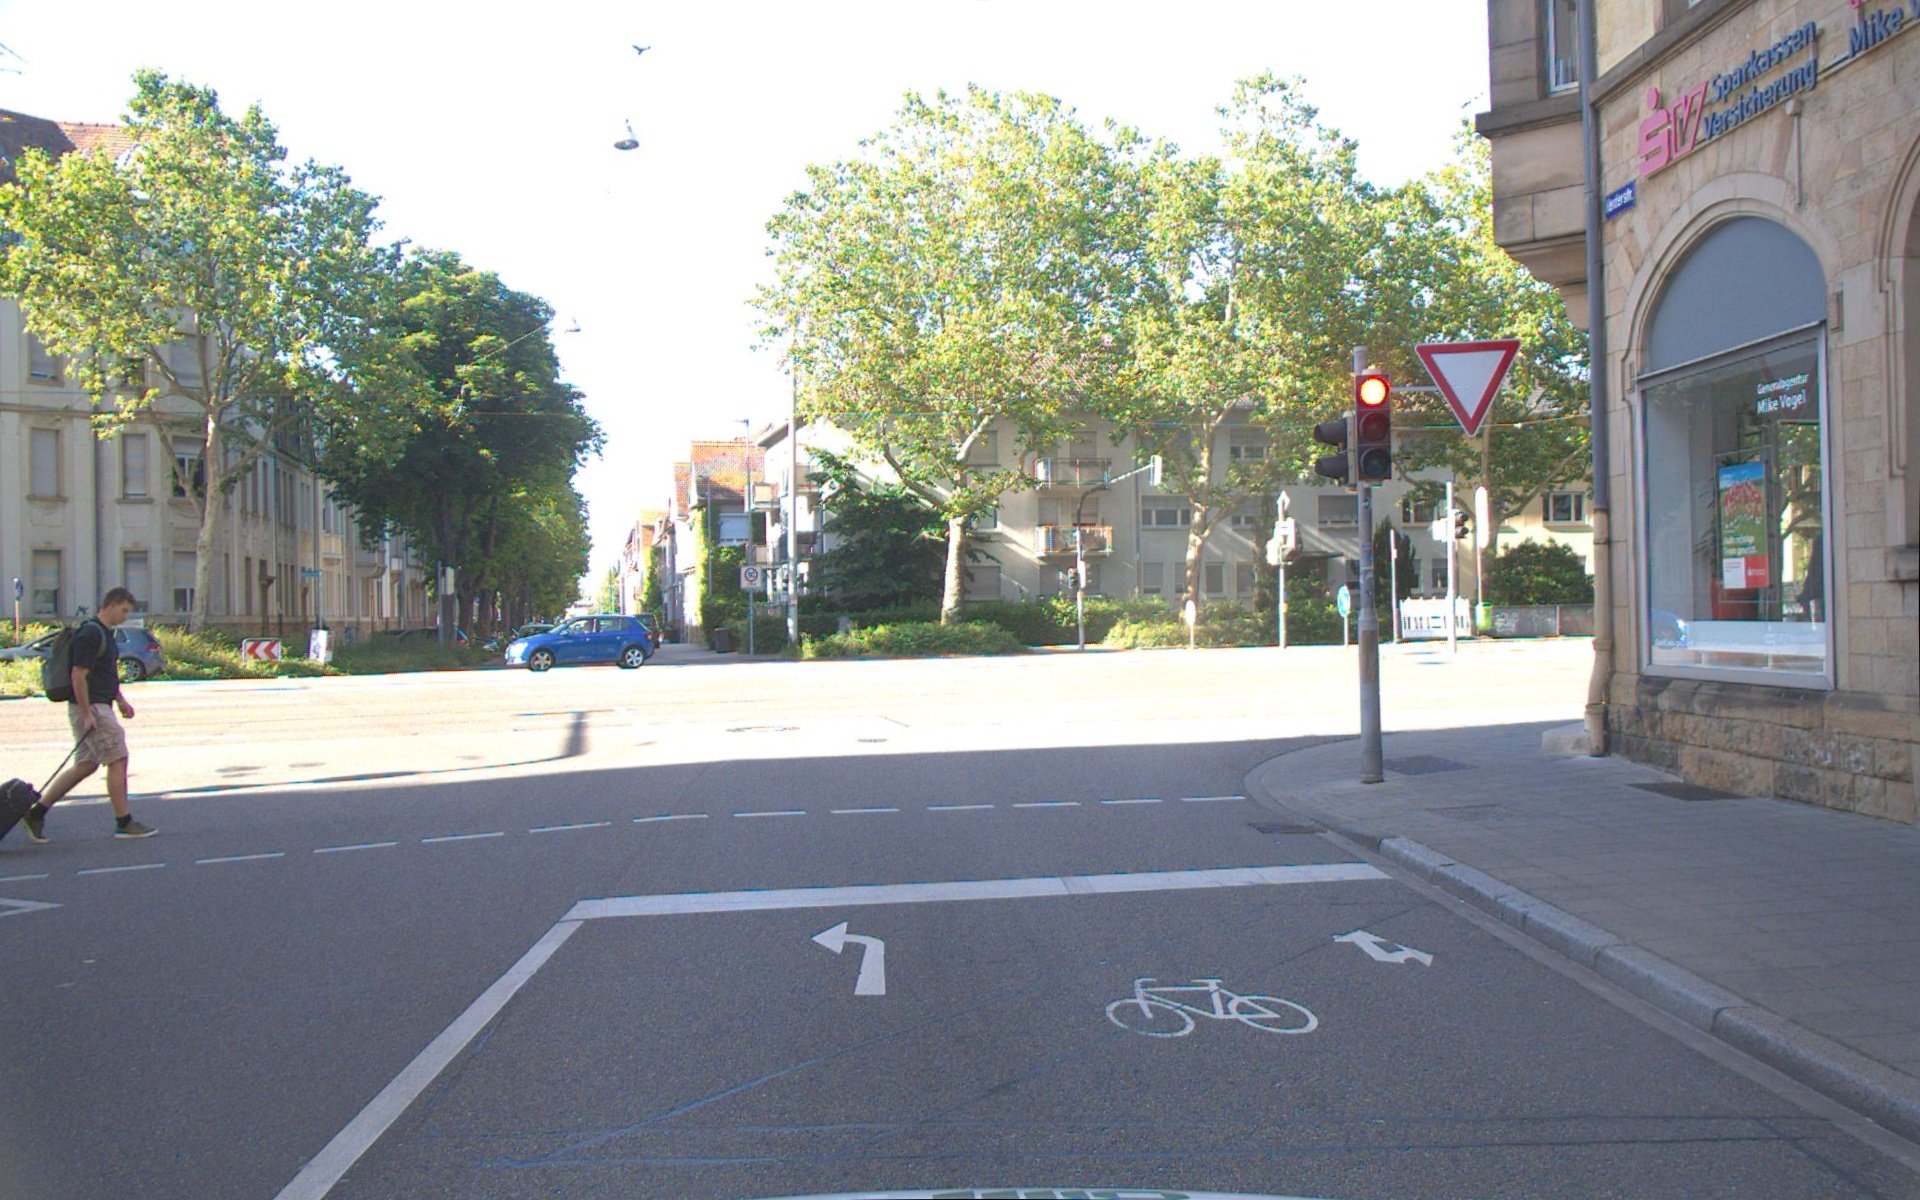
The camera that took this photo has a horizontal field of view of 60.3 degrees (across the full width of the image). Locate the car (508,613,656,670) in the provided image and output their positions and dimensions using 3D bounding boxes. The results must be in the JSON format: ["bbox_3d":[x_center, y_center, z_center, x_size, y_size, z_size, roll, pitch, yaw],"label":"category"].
[{"bbox_3d":[-10.253,1.109,44.850,3.728,1.425,1.635,-1,0,-22],"label":"car"}]

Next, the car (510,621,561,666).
[{"bbox_3d":[-16.166,1.632,63.087,1.669,1.509,3.523,-3,1,-12],"label":"car"}]

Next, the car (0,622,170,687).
[{"bbox_3d":[-21.235,1.297,39.774,3.883,1.425,1.636,-1,0,-21],"label":"car"}]

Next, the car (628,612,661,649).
[{"bbox_3d":[-18.044,1.713,94.511,1.742,1.952,3.523,-3,0,-12],"label":"car"}]

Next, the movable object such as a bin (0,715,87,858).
[{"bbox_3d":[-6.543,1.278,11.355,0.847,0.907,0.508,-2,0,-13],"label":"movable object such as a bin"}]

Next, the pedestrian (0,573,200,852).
[{"bbox_3d":[-6.181,0.778,11.937,1.047,1.880,0.746,-3,0,-13],"label":"pedestrian"}]

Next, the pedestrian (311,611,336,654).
[{"bbox_3d":[-22.002,1.113,57.183,0.690,1.467,0.489,1,-1,31],"label":"pedestrian"}]

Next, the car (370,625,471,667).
[{"bbox_3d":[-20.446,1.732,62.815,3.572,1.483,1.650,-1,0,-16],"label":"car"}]
